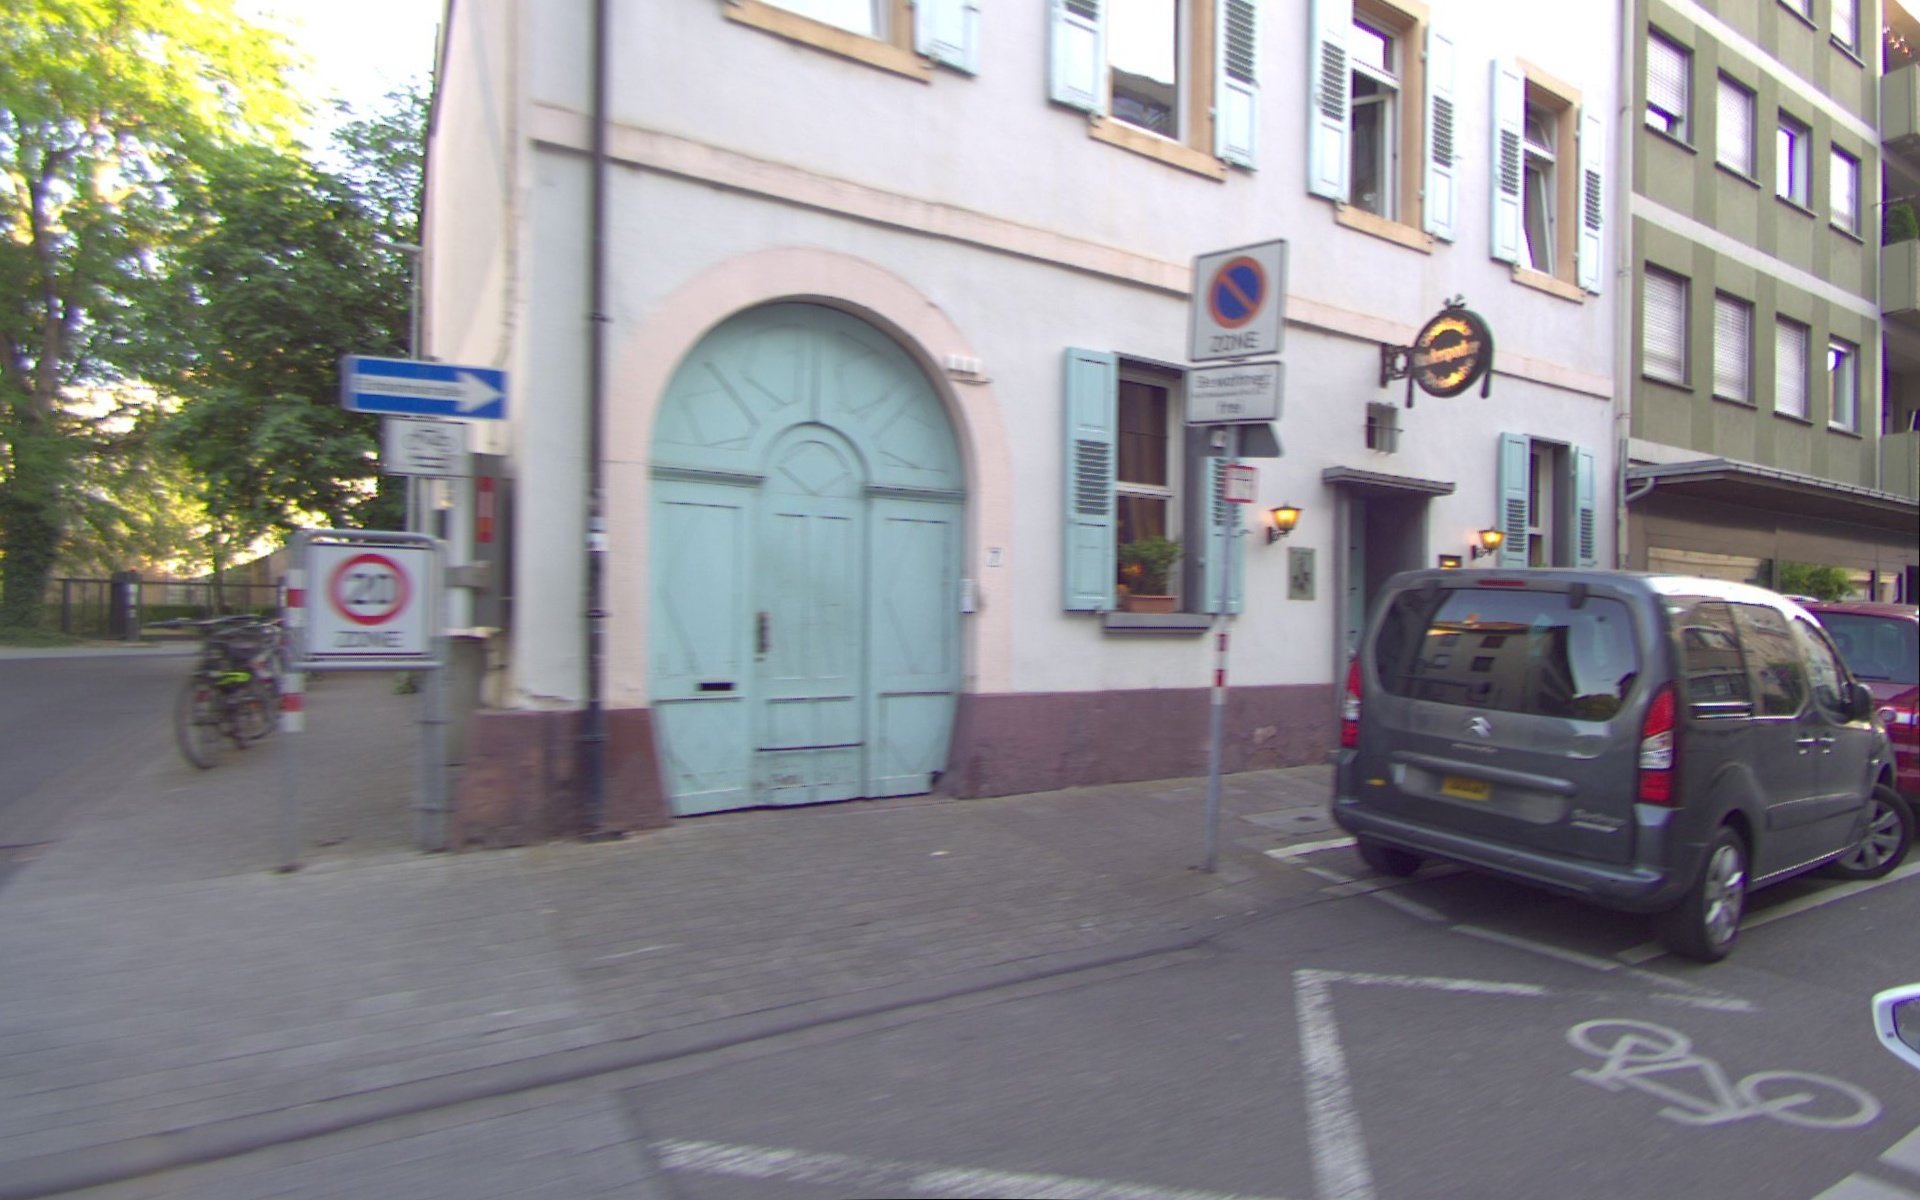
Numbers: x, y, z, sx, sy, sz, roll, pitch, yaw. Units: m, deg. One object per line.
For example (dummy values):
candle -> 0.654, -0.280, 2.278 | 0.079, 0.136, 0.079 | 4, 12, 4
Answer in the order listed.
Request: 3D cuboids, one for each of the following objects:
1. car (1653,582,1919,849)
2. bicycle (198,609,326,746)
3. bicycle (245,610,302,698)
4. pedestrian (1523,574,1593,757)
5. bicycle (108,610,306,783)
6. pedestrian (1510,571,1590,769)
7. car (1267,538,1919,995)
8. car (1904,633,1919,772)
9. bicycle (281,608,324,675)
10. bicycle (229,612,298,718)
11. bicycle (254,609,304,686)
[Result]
car -> 8.082, 0.840, 8.763 | 4.461, 1.835, 1.762 | 2, 0, -33
bicycle -> -6.942, 0.713, 10.084 | 0.618, 1.233, 1.923 | 1, -1, -22
bicycle -> -9.912, 0.743, 14.520 | 0.621, 1.171, 1.914 | 1, -1, -34
pedestrian -> 5.972, 0.639, 10.031 | 0.464, 1.773, 0.404 | 1, 0, -30
bicycle -> -6.053, 0.706, 8.210 | 0.617, 1.233, 1.926 | 1, -1, -16
pedestrian -> 5.466, 0.632, 9.313 | 0.464, 1.773, 0.447 | 1, -1, -29
car -> 4.054, 0.715, 6.058 | 4.405, 1.835, 1.865 | 2, 0, -34
car -> 12.353, 1.146, 11.270 | 3.833, 1.504, 1.616 | 2, -2, -31
bicycle -> -12.291, 0.752, 18.764 | 0.621, 1.171, 1.914 | 1, -1, -34
bicycle -> -8.453, 0.742, 12.208 | 0.621, 1.171, 1.914 | 1, -1, -34
bicycle -> -11.179, 0.744, 16.485 | 0.621, 1.171, 1.914 | 1, -1, -35
